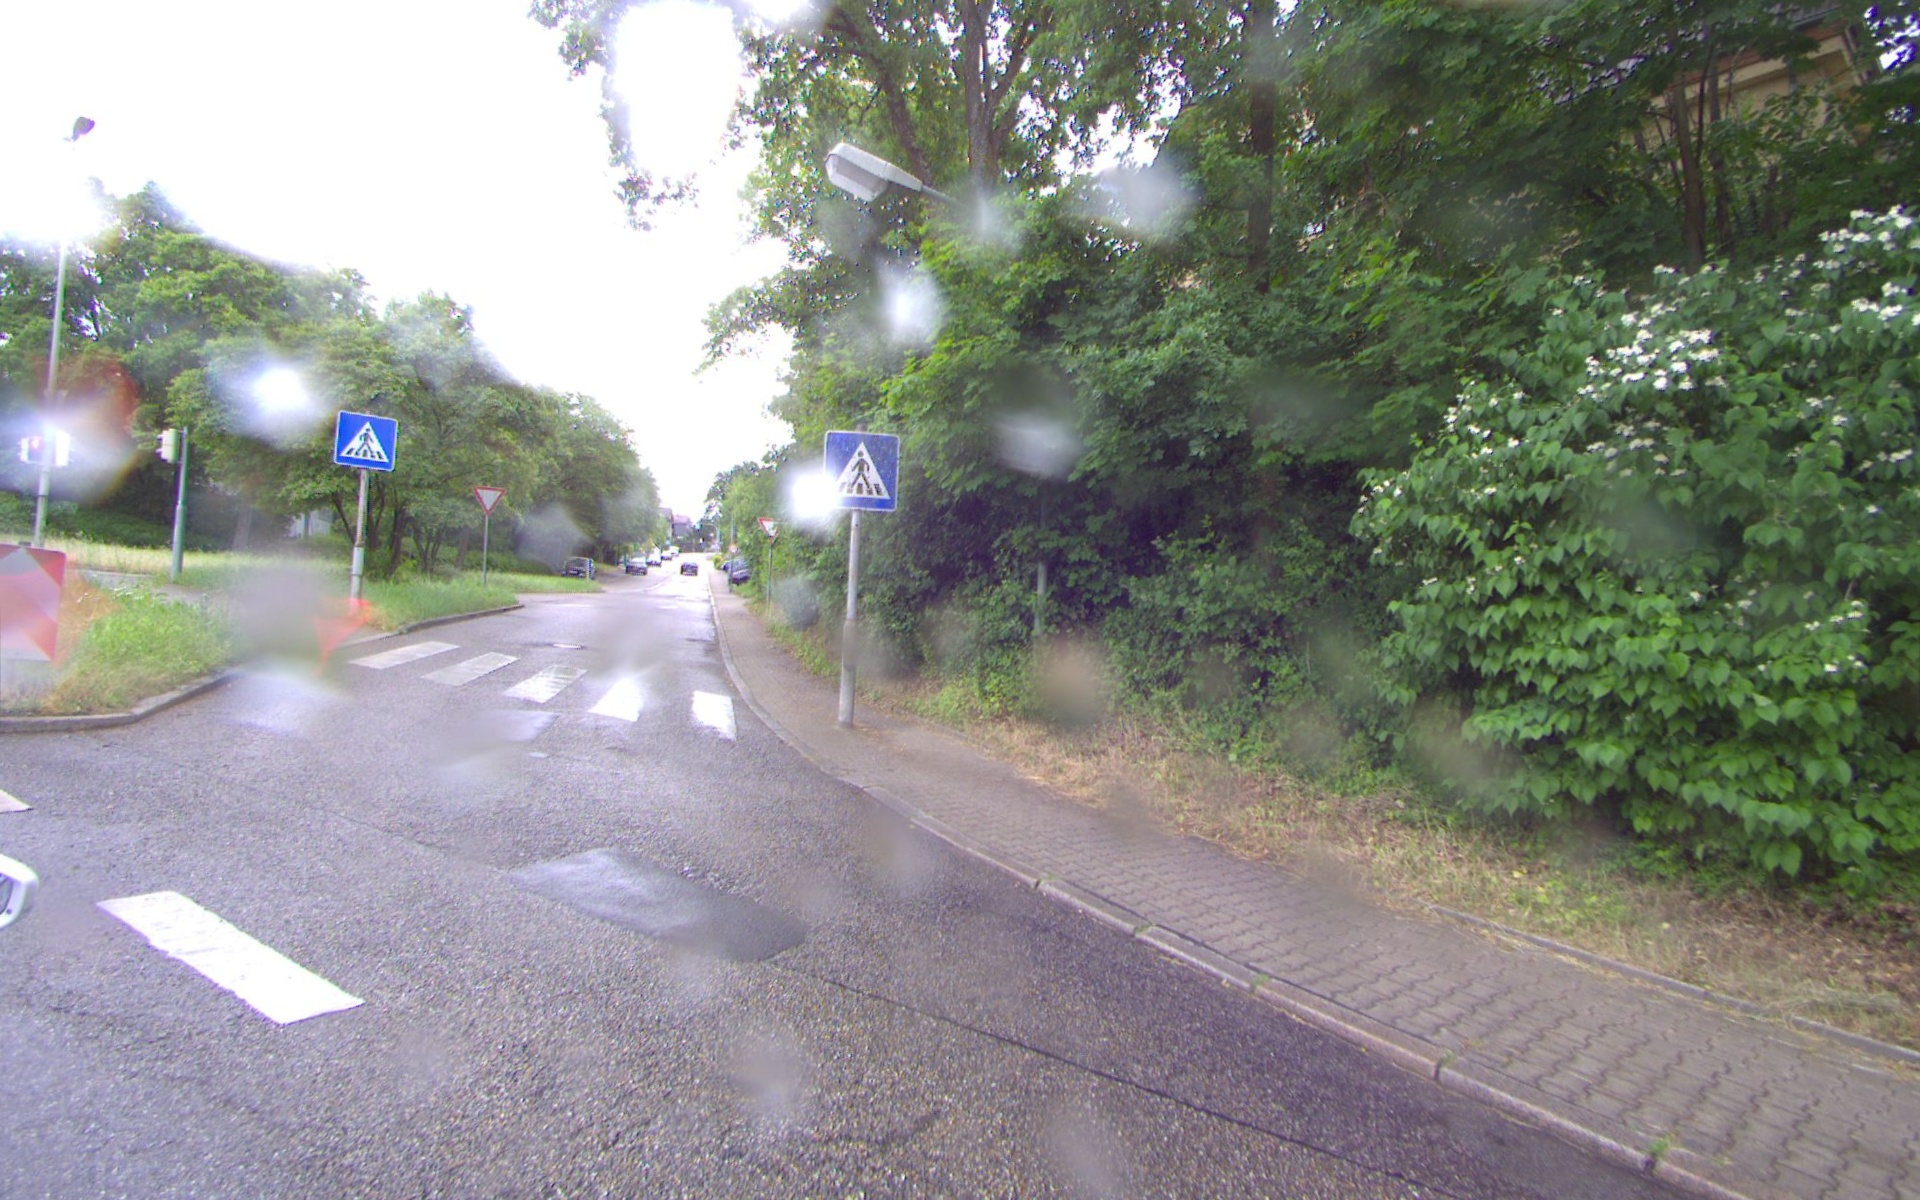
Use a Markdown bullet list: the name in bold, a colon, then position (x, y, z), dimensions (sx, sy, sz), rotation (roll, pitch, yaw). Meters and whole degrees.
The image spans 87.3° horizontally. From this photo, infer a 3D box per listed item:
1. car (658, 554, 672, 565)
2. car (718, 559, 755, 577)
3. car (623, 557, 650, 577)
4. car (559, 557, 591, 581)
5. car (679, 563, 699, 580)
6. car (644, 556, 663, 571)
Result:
- **car**: position (-46.783, -6.449, 159.514), dimensions (1.877, 1.413, 4.151), rotation (7, -2, -20)
- **car**: position (-25.779, -3.691, 116.097), dimensions (3.939, 1.594, 1.766), rotation (5, 1, -18)
- **car**: position (-30.113, -3.024, 93.735), dimensions (1.874, 1.467, 4.285), rotation (7, -2, -13)
- **car**: position (-25.895, -2.082, 67.740), dimensions (1.651, 1.387, 3.477), rotation (6, 0, -16)
- **car**: position (-28.541, -2.994, 106.084), dimensions (1.789, 1.461, 4.148), rotation (6, 1, -14)
- **car**: position (-37.718, -4.429, 123.649), dimensions (1.968, 1.463, 4.278), rotation (7, -2, -19)
